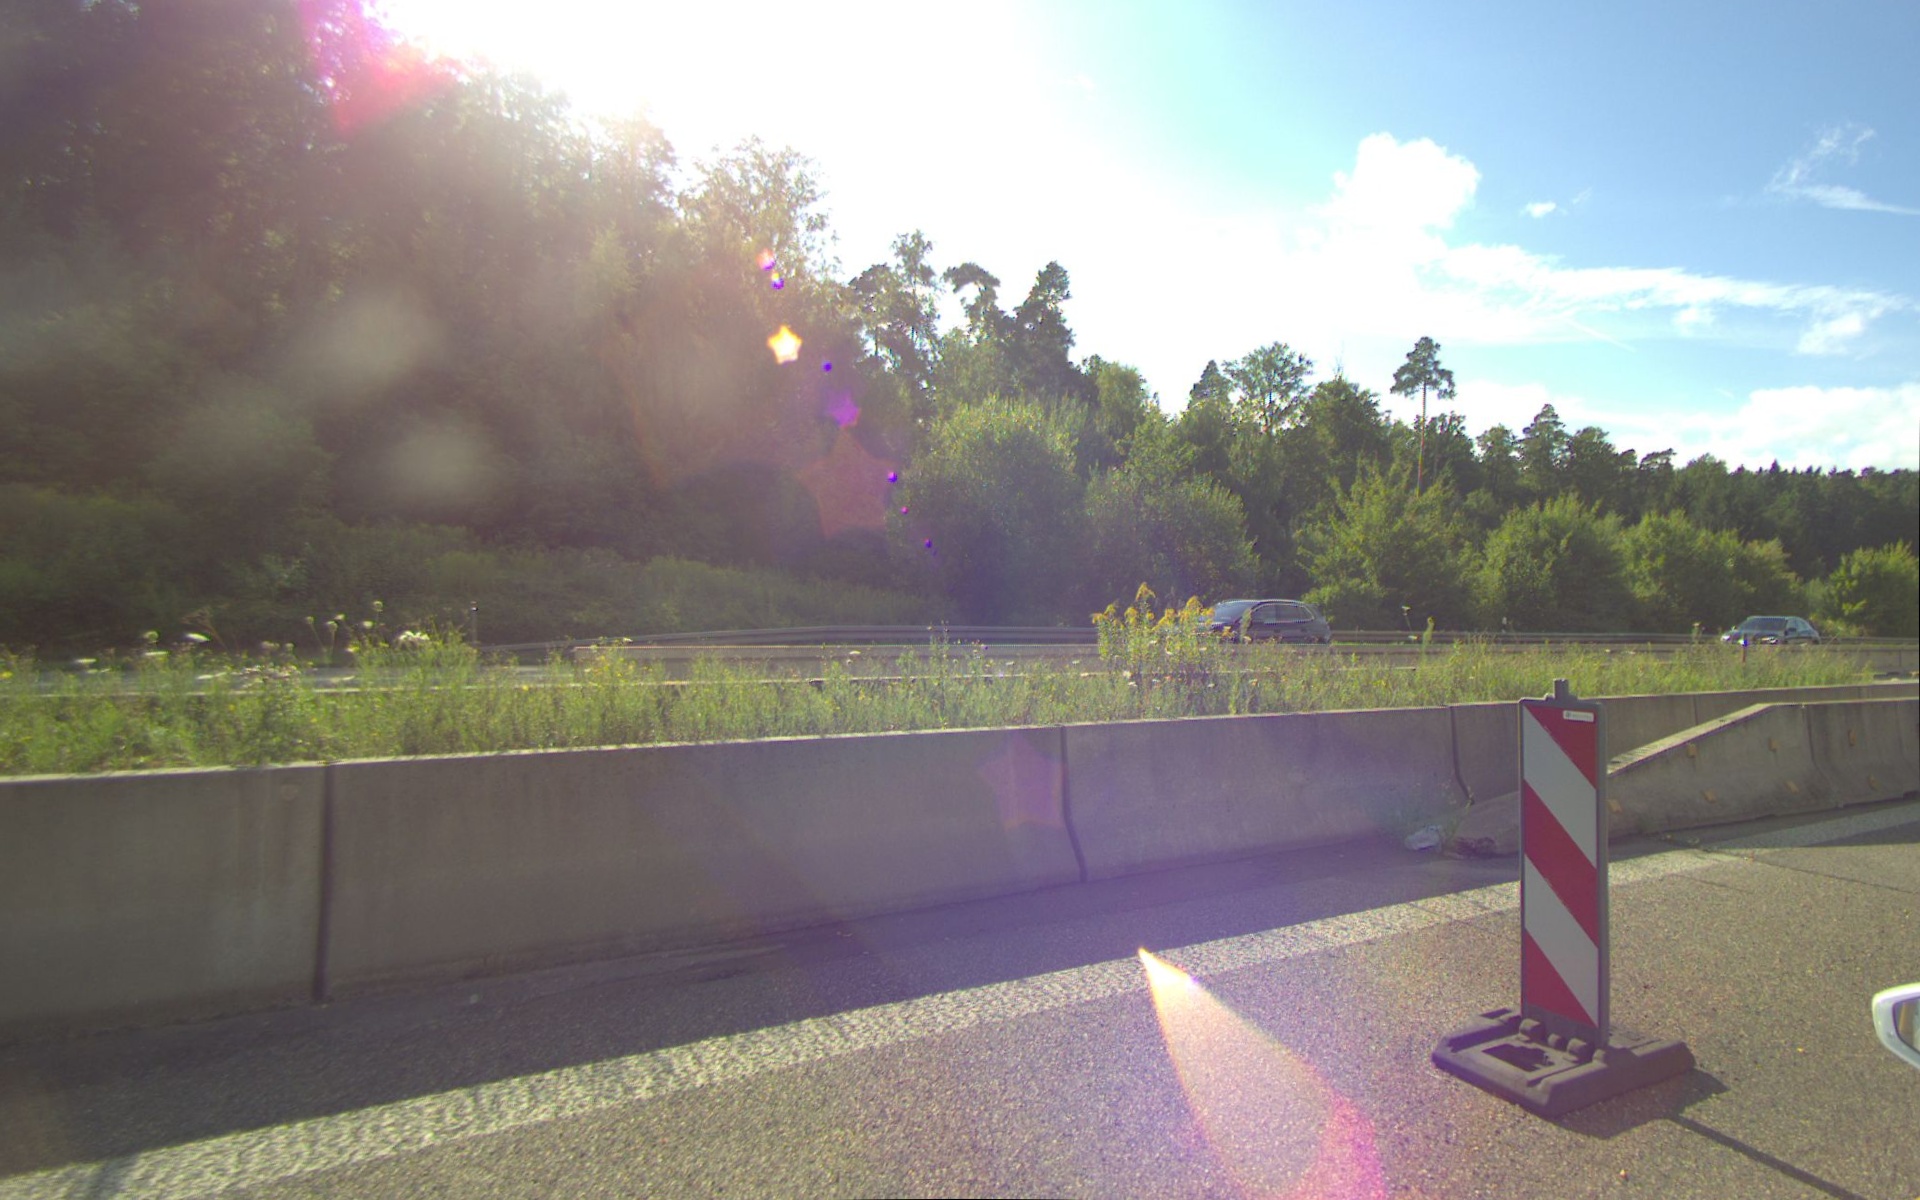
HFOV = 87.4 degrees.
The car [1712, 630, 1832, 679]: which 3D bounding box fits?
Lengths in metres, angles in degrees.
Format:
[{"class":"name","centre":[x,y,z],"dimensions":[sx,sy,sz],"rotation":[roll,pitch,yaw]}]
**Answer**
[{"class":"car","centre":[29.738,1.965,36.761],"dimensions":[4.429,1.610,1.949],"rotation":[2,0,-30]}]

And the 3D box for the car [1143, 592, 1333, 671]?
[{"class":"car","centre":[6.253,0.688,22.529],"dimensions":[3.968,1.624,1.770],"rotation":[2,0,-28]}]
